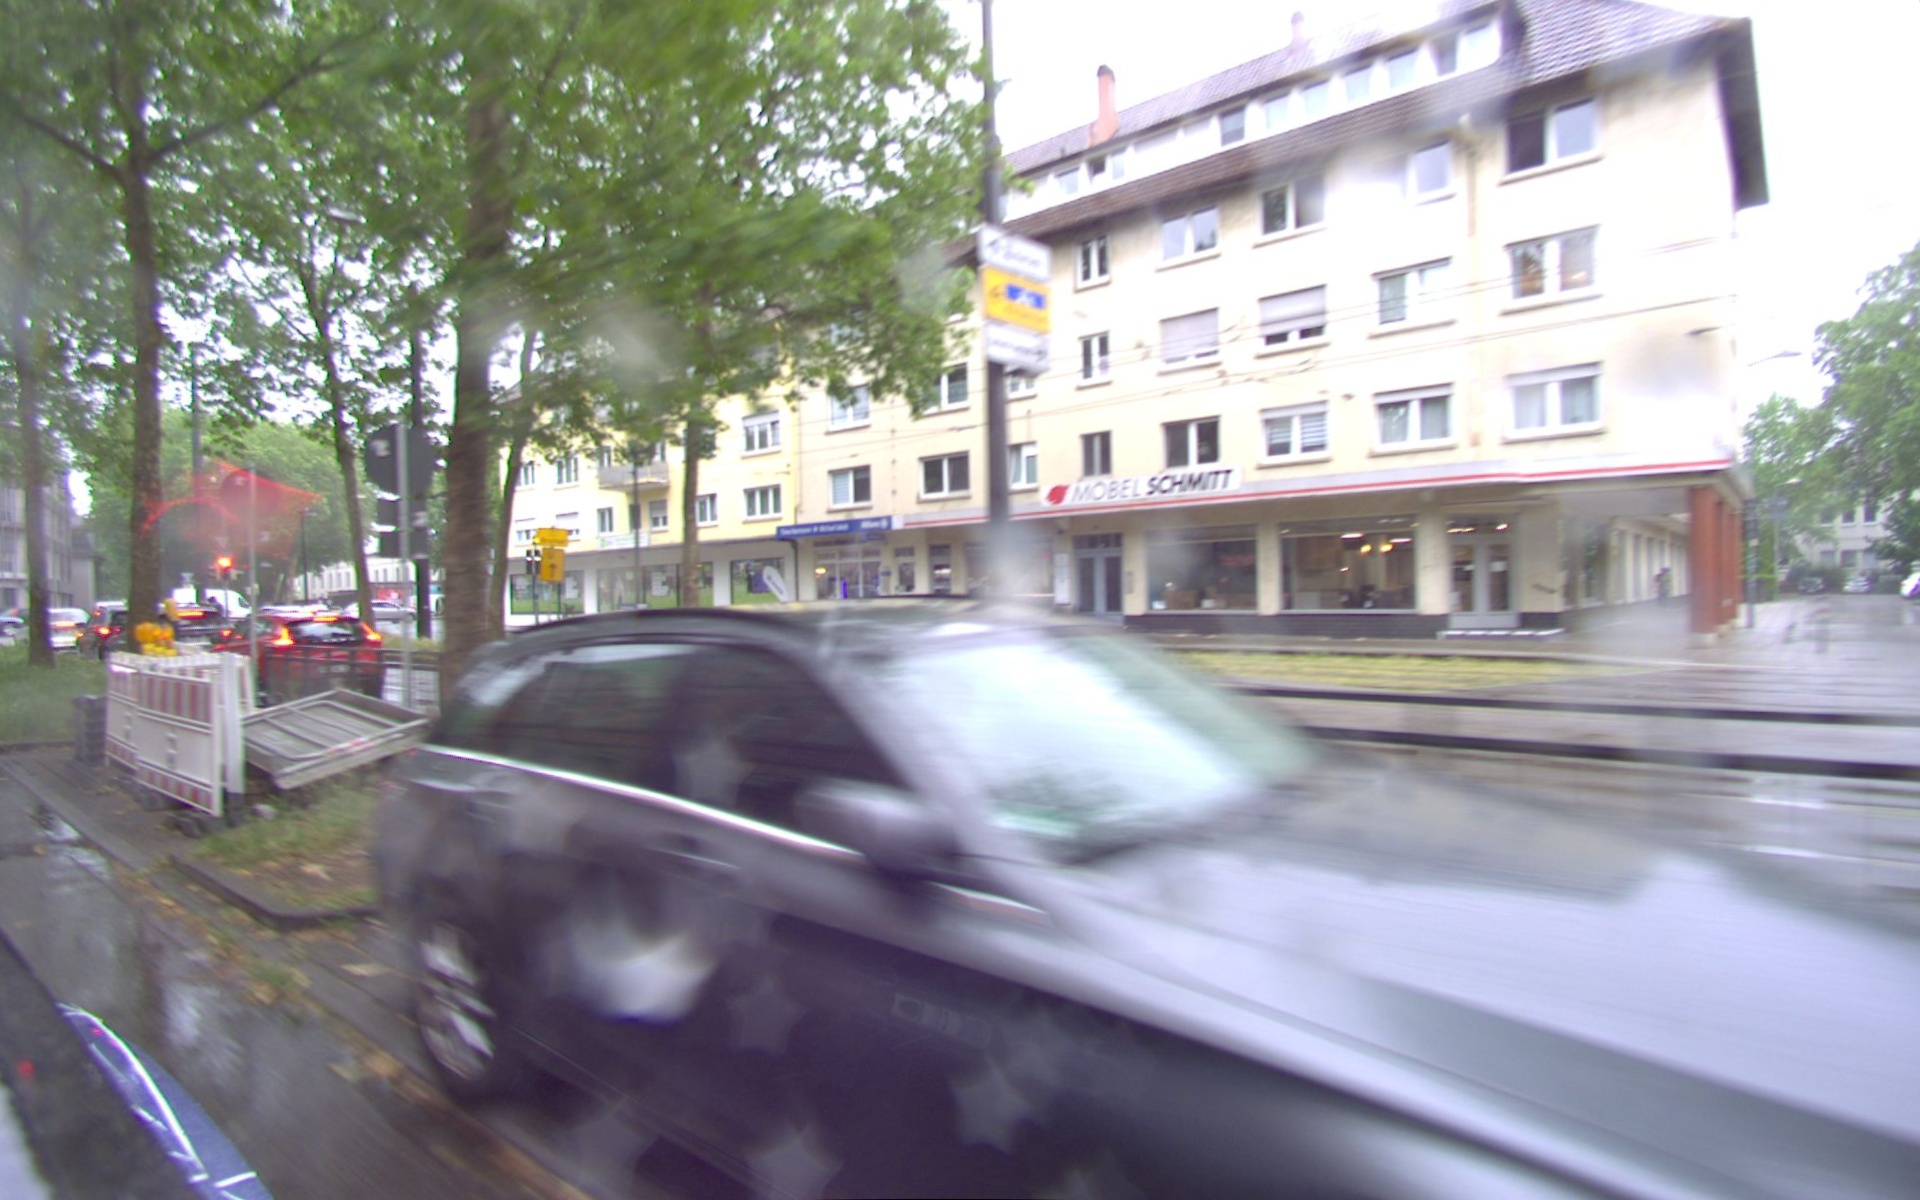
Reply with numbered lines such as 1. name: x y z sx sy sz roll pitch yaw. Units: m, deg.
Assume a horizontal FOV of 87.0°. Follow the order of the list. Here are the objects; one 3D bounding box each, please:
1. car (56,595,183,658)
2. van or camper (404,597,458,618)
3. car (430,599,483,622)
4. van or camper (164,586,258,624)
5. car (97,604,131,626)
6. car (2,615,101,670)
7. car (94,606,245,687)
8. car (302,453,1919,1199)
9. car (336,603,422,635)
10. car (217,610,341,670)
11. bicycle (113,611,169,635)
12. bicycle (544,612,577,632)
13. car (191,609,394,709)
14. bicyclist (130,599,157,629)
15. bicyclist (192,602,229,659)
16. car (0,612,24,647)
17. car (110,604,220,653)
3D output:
1. car: -22.338 0.682 26.834 4.637 1.496 1.837 -1 1 41
2. van or camper: -54.054 0.803 103.505 4.581 2.091 2.003 0 0 -40
3. car: -48.487 0.992 97.526 4.323 2.029 2.073 -1 1 -33
4. van or camper: -51.610 0.302 69.944 2.151 2.489 5.971 -1 1 -1
5. car: -72.519 1.244 86.817 1.972 1.785 4.009 -1 0 -37
6. car: -27.834 1.246 30.962 4.498 1.500 1.717 -1 1 41
7. car: -16.870 0.930 21.513 4.430 1.491 1.723 -1 1 41
8. car: 0.136 0.612 2.632 4.610 1.515 1.810 -1 2 40
9. car: -36.057 1.146 62.920 1.972 1.754 4.217 0 1 35
10. car: -18.065 1.008 26.787 4.128 1.408 1.723 -1 1 41
11. bicycle: -41.299 1.155 51.056 0.817 1.096 1.976 -2 2 33
12. bicycle: -18.903 1.039 47.853 2.045 0.903 0.605 -1 0 42
13. car: -11.146 0.899 16.779 4.231 1.408 1.723 -1 1 41
14. bicyclist: -41.258 0.706 51.141 0.925 1.481 0.796 1 0 33
15. bicyclist: -23.543 0.945 31.794 0.888 1.729 0.705 1 1 38
16. car: -46.808 1.475 46.487 1.940 1.604 5.285 -1 1 29
17. car: -26.839 0.941 34.129 4.276 1.513 1.857 -1 0 36
